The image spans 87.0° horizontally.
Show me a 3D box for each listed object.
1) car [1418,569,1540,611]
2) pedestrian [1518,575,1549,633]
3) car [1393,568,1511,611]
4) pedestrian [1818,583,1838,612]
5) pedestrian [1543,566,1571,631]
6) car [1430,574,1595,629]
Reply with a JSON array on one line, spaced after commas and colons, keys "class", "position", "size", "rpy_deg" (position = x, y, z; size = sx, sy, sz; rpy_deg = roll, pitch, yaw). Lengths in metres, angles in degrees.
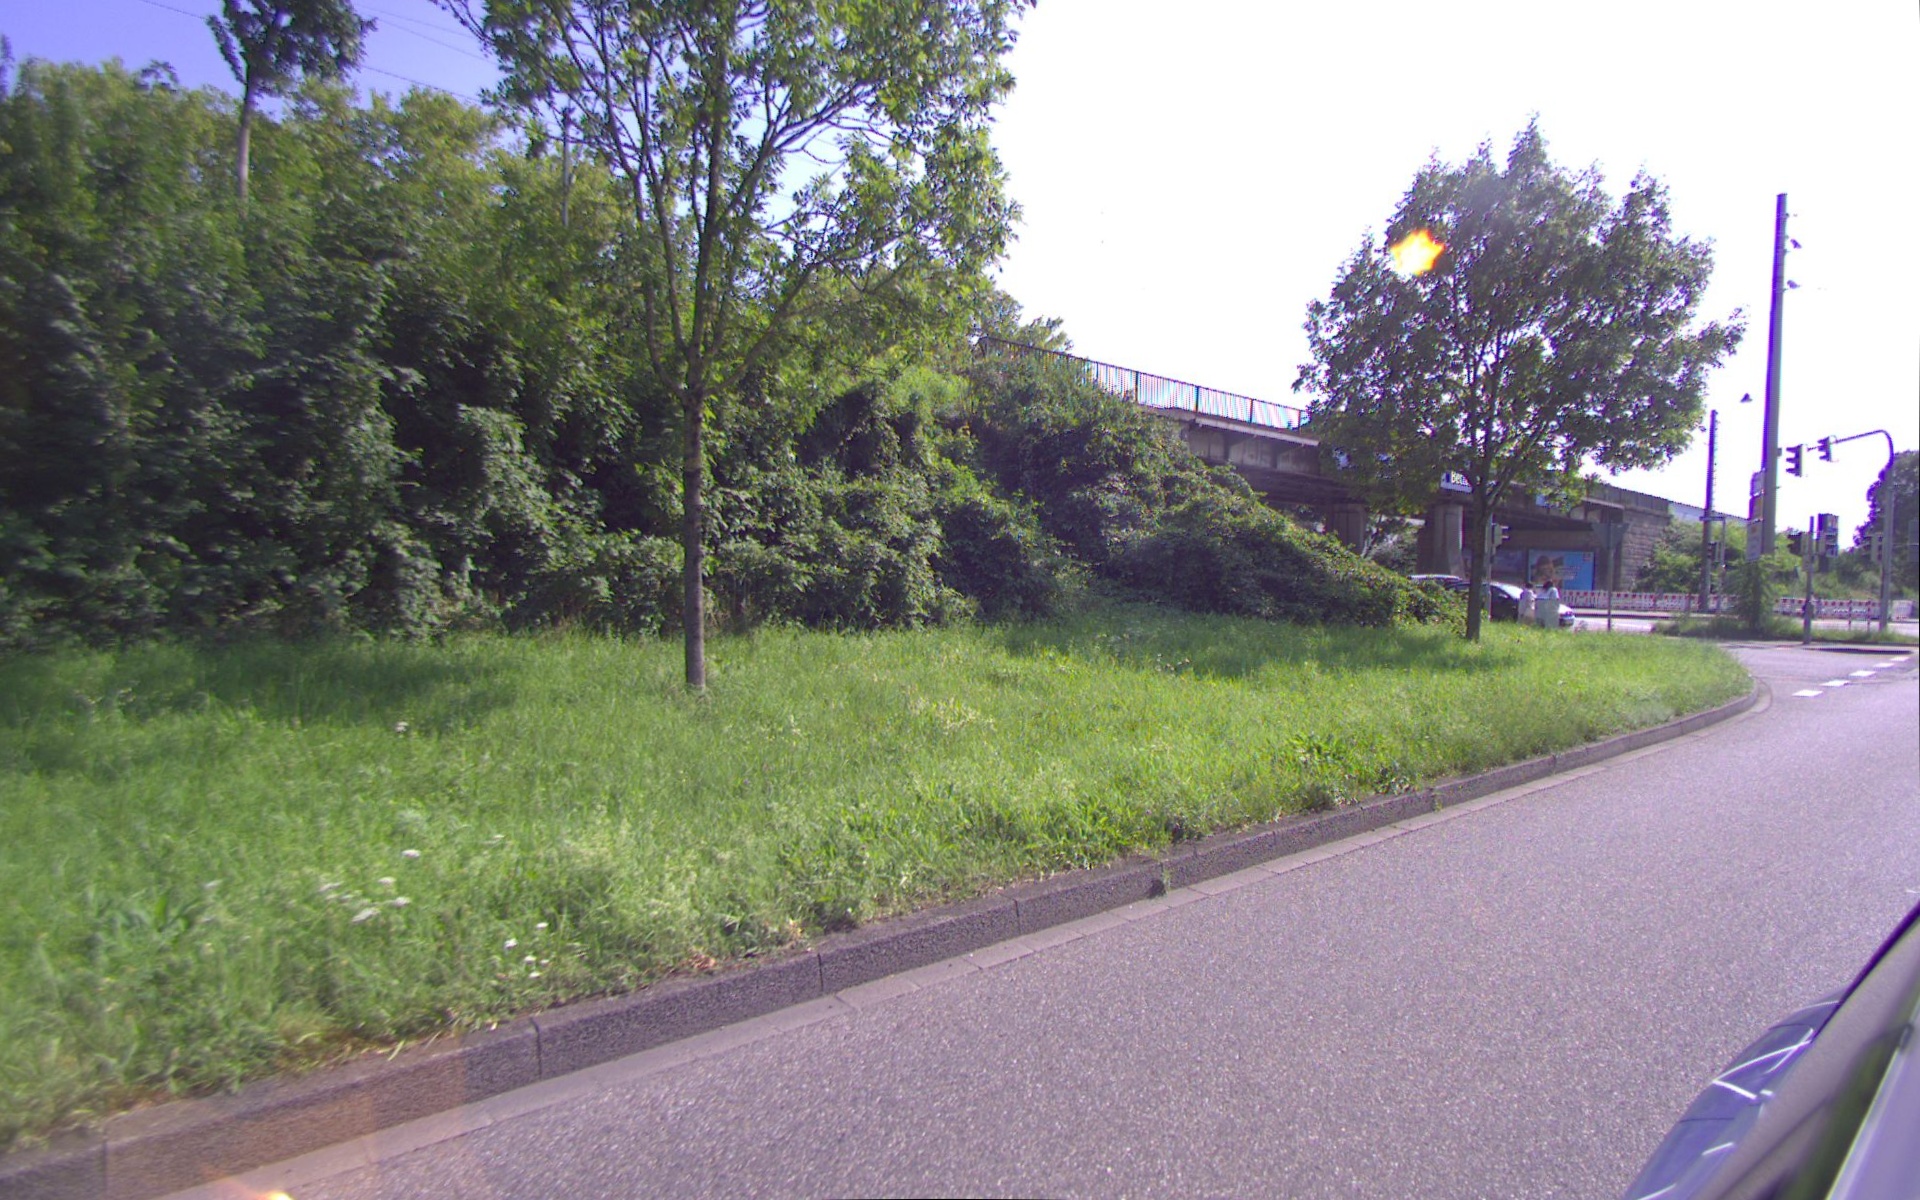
[{"class": "car", "position": [20.324, -0.424, 39.775], "size": [3.943, 1.470, 1.610], "rpy_deg": [2, 2, 15]}, {"class": "pedestrian", "position": [15.822, 0.103, 27.922], "size": [0.563, 1.586, 0.535], "rpy_deg": [1, 1, 9]}, {"class": "car", "position": [20.633, -0.467, 42.619], "size": [4.160, 1.638, 2.000], "rpy_deg": [2, 2, 17]}, {"class": "pedestrian", "position": [47.956, -0.146, 55.932], "size": [0.625, 1.594, 0.488], "rpy_deg": [1, 1, 13]}, {"class": "pedestrian", "position": [15.938, -0.042, 27.035], "size": [0.486, 1.702, 0.568], "rpy_deg": [1, 1, 19]}, {"class": "car", "position": [17.220, 0.002, 31.765], "size": [1.833, 1.552, 4.200], "rpy_deg": [0, 2, -29]}]
